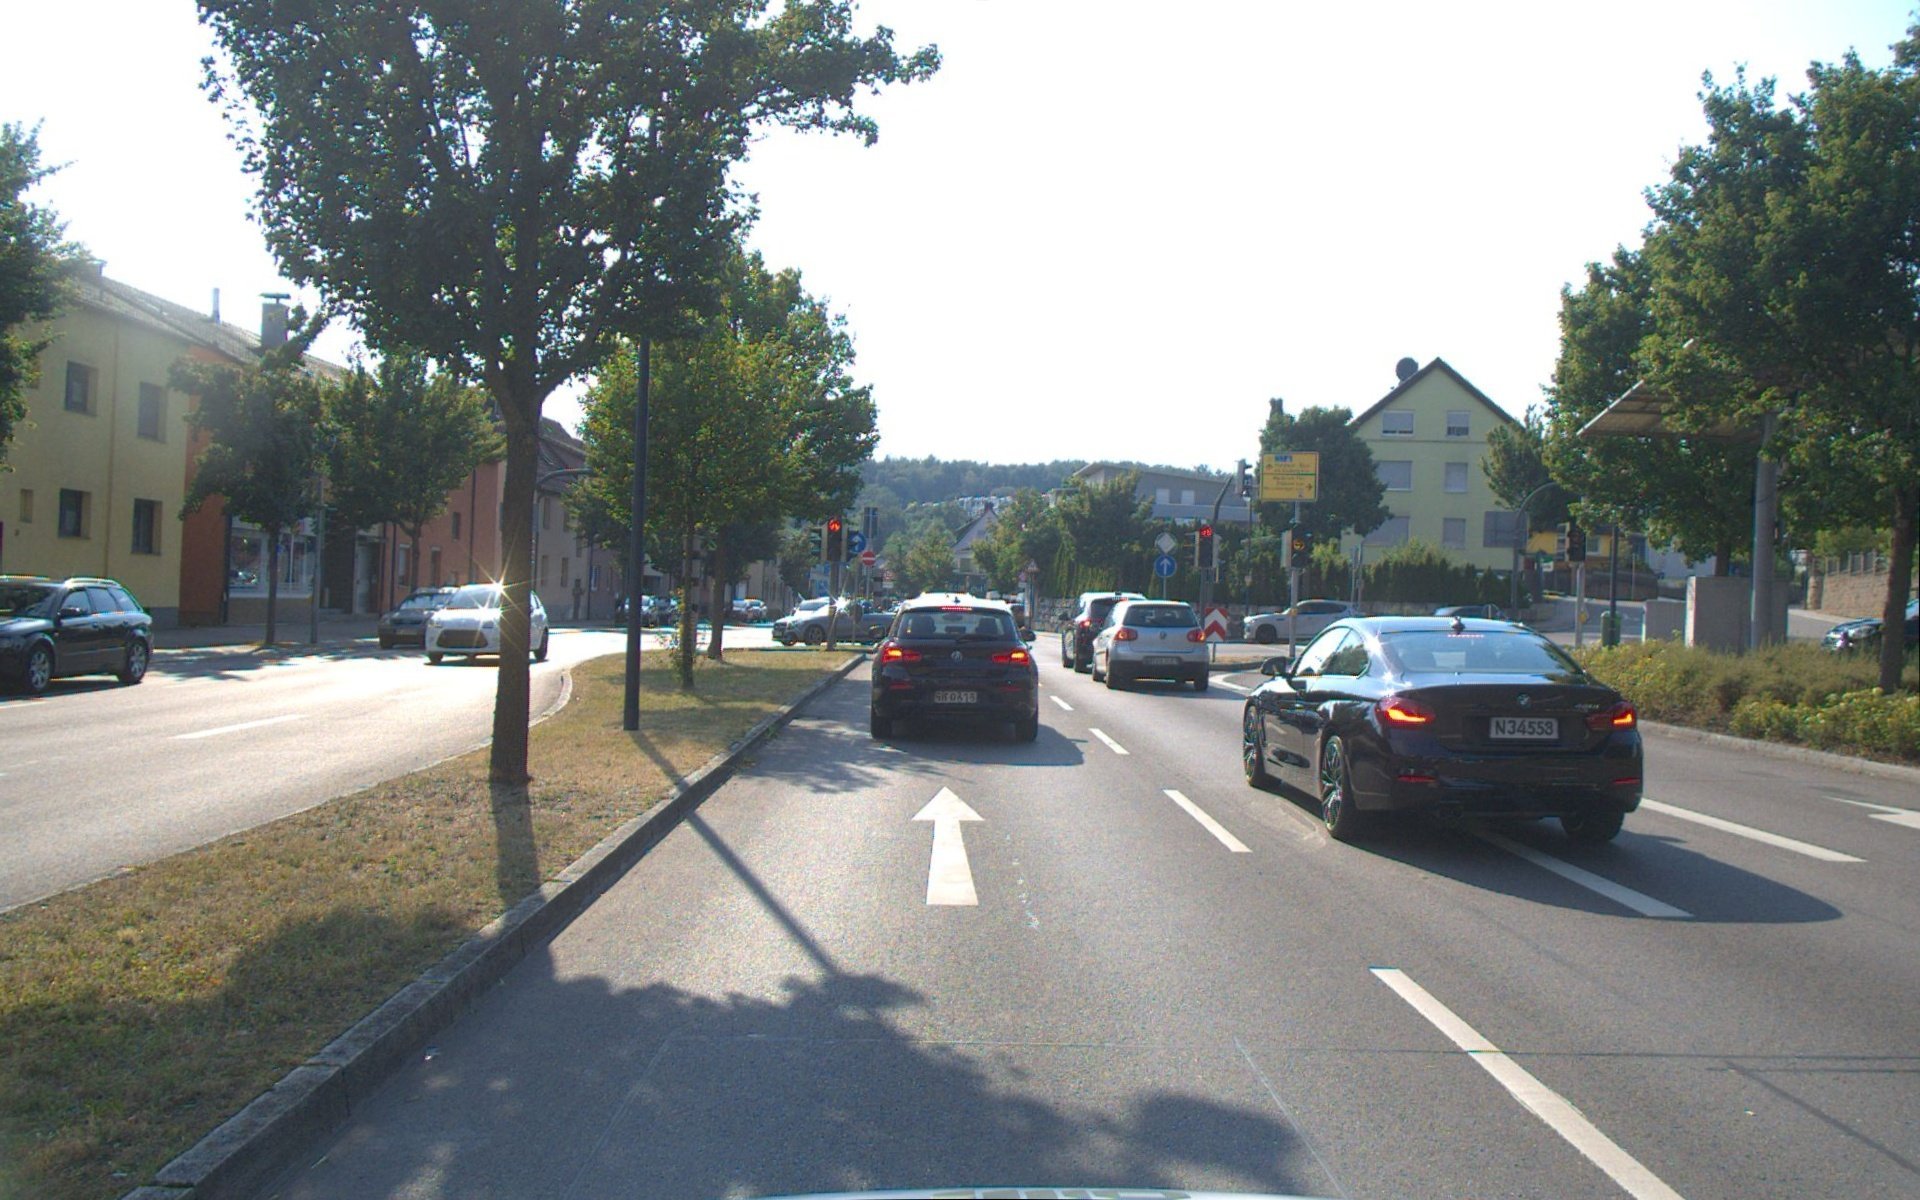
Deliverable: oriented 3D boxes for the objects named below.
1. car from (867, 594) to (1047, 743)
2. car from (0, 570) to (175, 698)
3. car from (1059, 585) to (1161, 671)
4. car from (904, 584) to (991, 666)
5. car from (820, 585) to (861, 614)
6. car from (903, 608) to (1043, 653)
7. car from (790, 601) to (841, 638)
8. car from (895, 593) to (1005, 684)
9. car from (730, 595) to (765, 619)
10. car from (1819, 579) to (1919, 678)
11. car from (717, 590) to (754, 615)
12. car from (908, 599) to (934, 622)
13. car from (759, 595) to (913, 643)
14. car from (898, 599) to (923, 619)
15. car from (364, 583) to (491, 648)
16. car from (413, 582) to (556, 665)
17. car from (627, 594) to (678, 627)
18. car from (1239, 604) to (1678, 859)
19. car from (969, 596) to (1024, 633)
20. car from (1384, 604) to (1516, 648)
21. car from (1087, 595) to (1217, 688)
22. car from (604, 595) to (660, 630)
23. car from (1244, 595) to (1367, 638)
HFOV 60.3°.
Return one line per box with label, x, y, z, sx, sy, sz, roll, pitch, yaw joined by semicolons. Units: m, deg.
car;-0.022;0.672;18.480;1.754;1.439;4.347;1;0;0
car;-12.296;0.384;21.938;1.770;1.523;4.245;1;0;-1
car;3.163;0.567;35.543;1.779;1.695;4.347;1;0;0
car;-0.254;0.526;36.507;1.779;1.670;4.241;1;0;0
car;-5.889;-0.029;81.786;1.658;1.377;4.000;1;0;0
car;0.466;1.062;57.956;4.568;1.446;1.835;1;0;-24
car;-6.091;0.813;69.922;1.730;1.484;4.000;1;0;0
car;-0.161;0.634;29.438;1.779;1.476;4.241;1;0;0
car;-15.050;0.515;117.488;1.884;1.624;4.000;1;0;0
car;17.183;0.519;28.416;3.902;1.636;1.855;1;0;11
car;-15.154;0.142;111.984;1.884;1.624;4.000;1;0;0
car;-2.966;0.765;124.977;1.885;1.624;3.999;1;0;-2
car;-3.771;0.598;50.527;4.424;1.373;1.765;1;0;-34
car;-4.138;0.751;138.845;1.884;1.624;4.000;1;0;0
car;-13.070;0.353;40.875;1.652;1.488;4.710;1;0;-1
car;-9.440;0.432;33.143;1.765;1.523;3.954;1;0;-2
car;-16.186;0.544;87.150;1.884;1.624;4.000;1;0;0
car;3.225;0.760;11.657;1.779;1.413;4.347;1;0;0
car;1.738;0.687;79.738;1.856;1.732;4.514;0;0;-9
car;16.906;0.881;57.082;4.105;1.411;1.644;1;0;-14
car;3.281;0.663;29.003;1.779;1.471;4.347;1;0;0
car;-16.201;0.612;81.881;1.884;1.624;4.000;1;0;0
car;13.244;0.615;63.623;4.545;1.511;1.869;1;0;9
